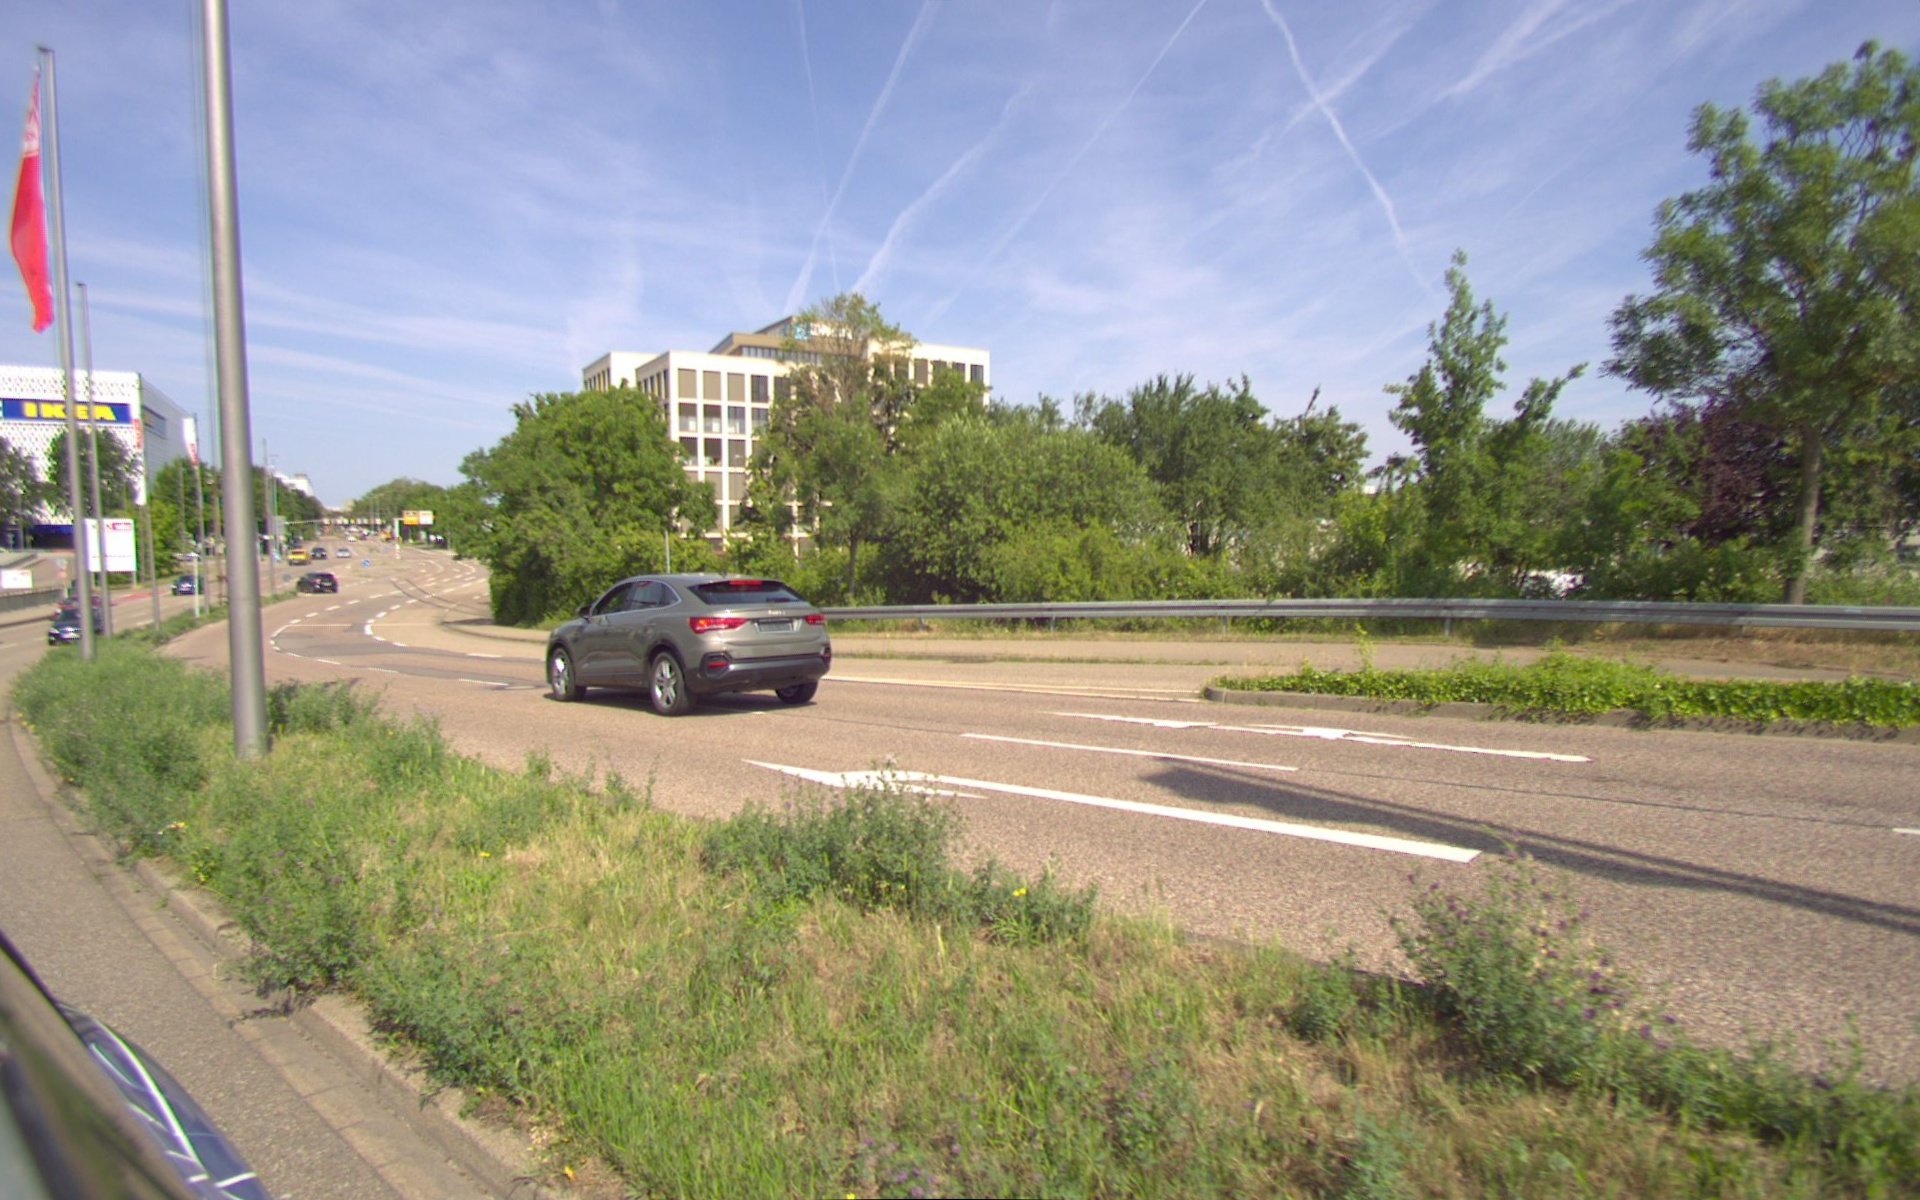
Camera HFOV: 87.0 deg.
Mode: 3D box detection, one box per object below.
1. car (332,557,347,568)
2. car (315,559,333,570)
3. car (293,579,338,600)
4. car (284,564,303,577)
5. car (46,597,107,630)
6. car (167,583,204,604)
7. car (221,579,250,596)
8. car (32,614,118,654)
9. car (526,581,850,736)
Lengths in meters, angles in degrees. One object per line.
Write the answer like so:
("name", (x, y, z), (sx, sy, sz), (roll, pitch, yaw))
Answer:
("car", (-93.463, -5.627, 152.524), (1.795, 1.485, 4.013), (-1, 4, -29))
("car", (-92.532, -5.204, 147.257), (1.795, 1.485, 4.014), (-1, 4, -27))
("car", (-51.941, -0.866, 81.516), (4.139, 1.540, 1.838), (3, 4, 39))
("car", (-86.365, -3.842, 131.190), (1.795, 1.485, 4.013), (-1, 4, -29))
("car", (-48.975, 0.728, 56.189), (1.748, 1.671, 4.157), (1, 1, -30))
("car", (-61.997, -0.548, 81.097), (1.795, 1.485, 4.013), (-1, 4, -29))
("car", (-70.720, -1.265, 98.821), (1.795, 1.485, 4.013), (-1, 4, -29))
("car", (-36.292, 1.356, 41.606), (1.819, 1.429, 4.013), (0, 1, -29))
("car", (-3.335, 0.603, 11.893), (4.261, 1.496, 1.764), (-2, -1, 45))
